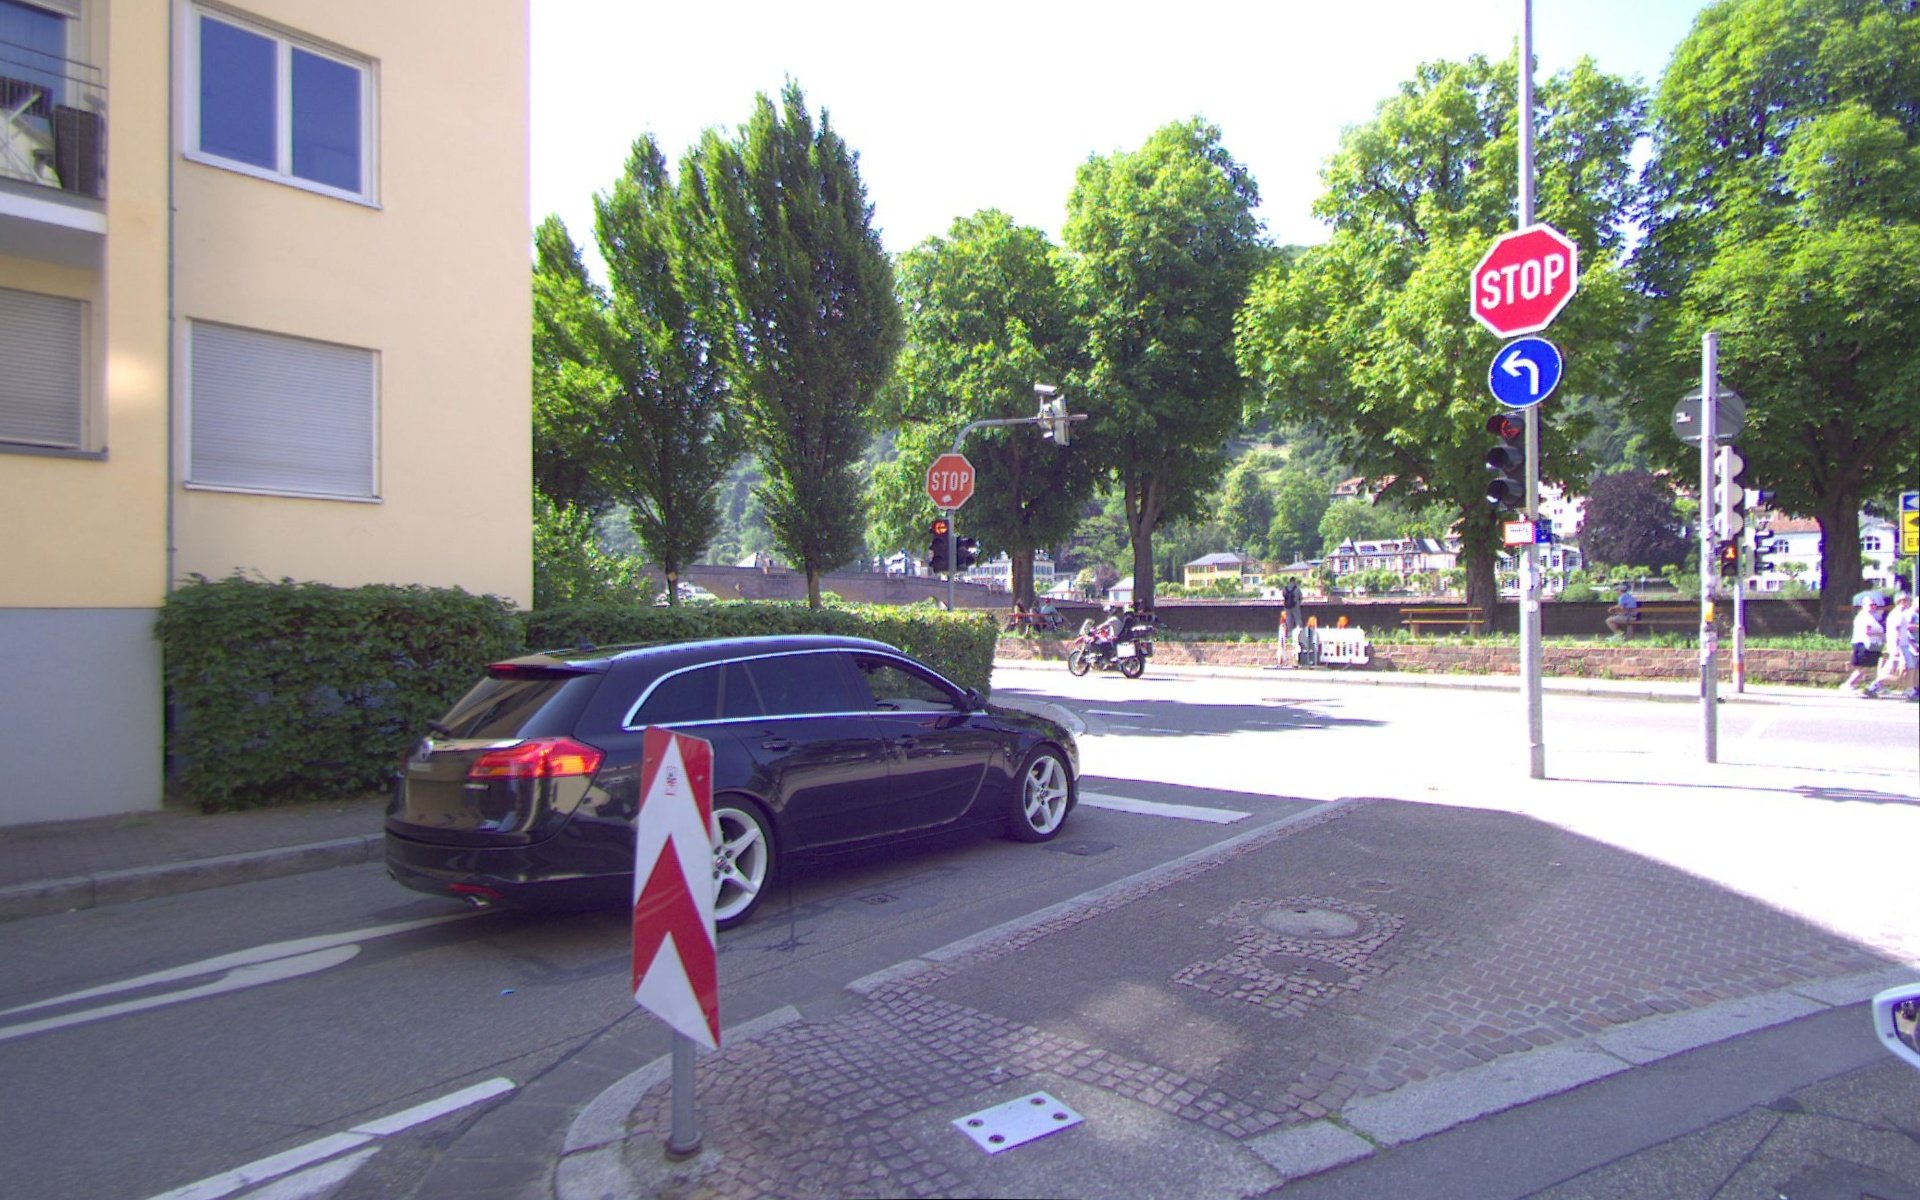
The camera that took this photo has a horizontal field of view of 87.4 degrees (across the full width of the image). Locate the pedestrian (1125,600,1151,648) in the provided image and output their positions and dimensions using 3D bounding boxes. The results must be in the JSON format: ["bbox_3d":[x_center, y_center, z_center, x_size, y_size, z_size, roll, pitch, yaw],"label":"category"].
[{"bbox_3d":[5.695,0.770,32.183,0.799,1.513,0.462,1,-1,-45],"label":"pedestrian"}]

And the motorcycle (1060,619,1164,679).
[{"bbox_3d":[3.630,1.152,24.145,2.434,1.394,0.760,-1,-2,40],"label":"motorcycle"}]

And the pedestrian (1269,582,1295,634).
[{"bbox_3d":[11.030,0.266,34.378,0.697,1.754,0.755,0,-1,31],"label":"pedestrian"}]

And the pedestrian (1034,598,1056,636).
[{"bbox_3d":[2.940,0.598,34.737,0.627,1.287,0.462,1,-1,-45],"label":"pedestrian"}]

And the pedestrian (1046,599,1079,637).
[{"bbox_3d":[3.540,0.610,34.576,1.216,1.287,0.462,1,-1,-45],"label":"pedestrian"}]

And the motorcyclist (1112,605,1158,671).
[{"bbox_3d":[4.141,0.898,23.750,0.761,1.513,0.815,-1,-2,39],"label":"motorcyclist"}]

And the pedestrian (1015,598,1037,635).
[{"bbox_3d":[2.328,0.586,35.363,0.627,1.287,0.462,1,-1,-45],"label":"pedestrian"}]

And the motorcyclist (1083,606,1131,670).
[{"bbox_3d":[3.541,0.906,24.171,0.861,1.514,0.815,-1,-1,39],"label":"motorcyclist"}]

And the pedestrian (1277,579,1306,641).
[{"bbox_3d":[10.243,0.320,31.008,0.750,1.882,0.756,0,-1,24],"label":"pedestrian"}]

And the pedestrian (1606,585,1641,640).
[{"bbox_3d":[15.413,0.293,23.354,0.632,1.244,0.413,-1,-1,29],"label":"pedestrian"}]

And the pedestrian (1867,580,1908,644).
[{"bbox_3d":[18.986,0.248,20.571,0.546,1.244,0.981,2,-2,42],"label":"pedestrian"}]

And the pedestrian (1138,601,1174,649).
[{"bbox_3d":[6.250,0.788,31.979,1.376,1.499,0.462,1,-1,-45],"label":"pedestrian"}]

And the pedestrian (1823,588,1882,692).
[{"bbox_3d":[16.201,0.728,18.253,0.713,1.825,0.631,-2,-3,38],"label":"pedestrian"}]

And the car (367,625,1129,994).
[{"bbox_3d":[-0.896,0.928,6.404,1.695,1.481,4.701,-3,-3,40],"label":"car"}]

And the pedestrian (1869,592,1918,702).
[{"bbox_3d":[15.964,0.791,17.176,0.572,1.825,0.701,-1,-2,44],"label":"pedestrian"}]

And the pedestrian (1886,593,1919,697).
[{"bbox_3d":[16.894,0.792,17.729,0.679,1.792,0.715,-2,-3,35],"label":"pedestrian"}]

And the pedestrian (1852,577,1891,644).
[{"bbox_3d":[18.688,0.217,20.604,0.547,1.296,0.700,2,-2,42],"label":"pedestrian"}]
